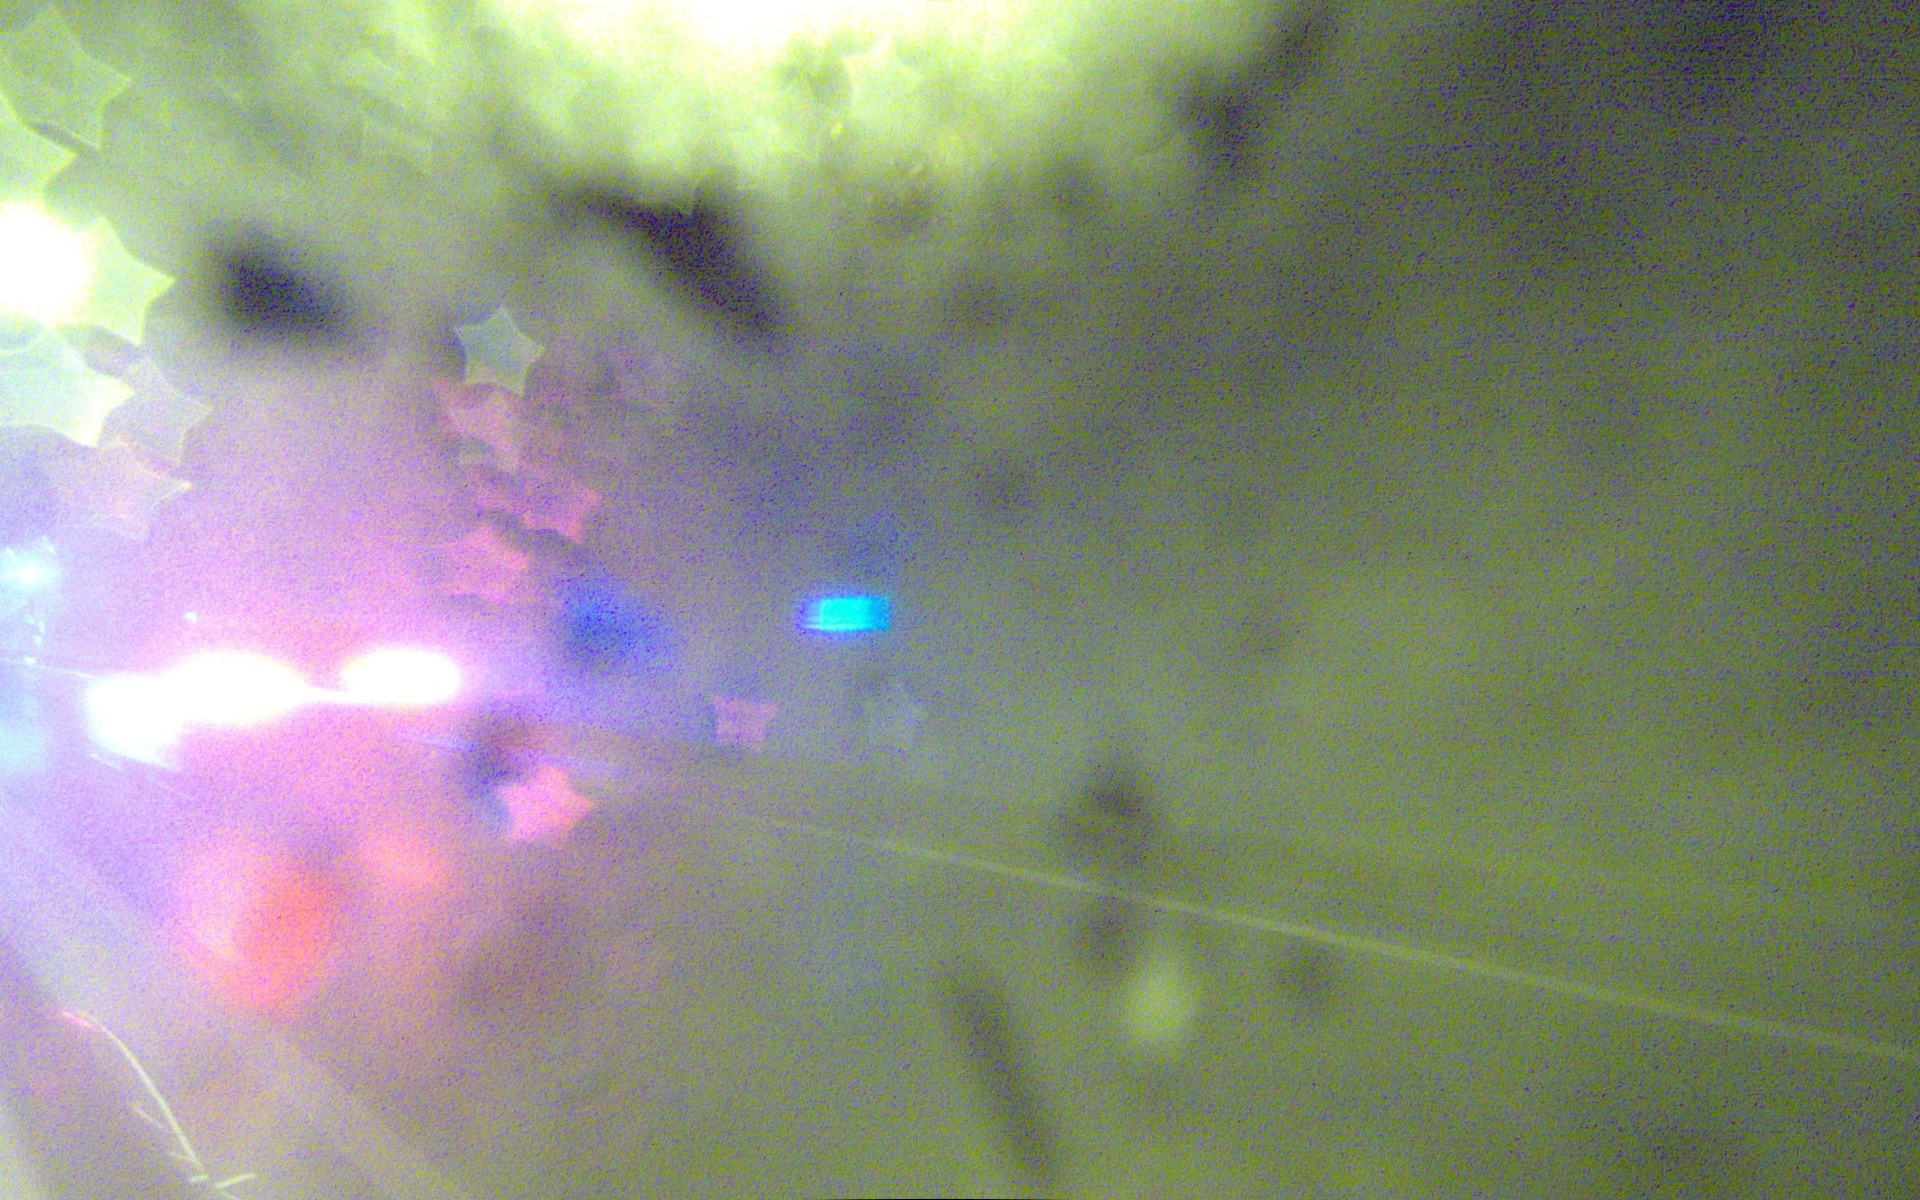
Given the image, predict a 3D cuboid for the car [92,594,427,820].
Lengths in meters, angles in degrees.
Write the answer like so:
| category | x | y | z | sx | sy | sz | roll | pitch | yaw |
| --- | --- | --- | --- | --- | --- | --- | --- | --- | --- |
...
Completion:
| category | x | y | z | sx | sy | sz | roll | pitch | yaw |
| --- | --- | --- | --- | --- | --- | --- | --- | --- | --- |
| car | -6.528 | 0.835 | 9.245 | 4.144 | 1.615 | 1.618 | -3 | -2 | 42 |
